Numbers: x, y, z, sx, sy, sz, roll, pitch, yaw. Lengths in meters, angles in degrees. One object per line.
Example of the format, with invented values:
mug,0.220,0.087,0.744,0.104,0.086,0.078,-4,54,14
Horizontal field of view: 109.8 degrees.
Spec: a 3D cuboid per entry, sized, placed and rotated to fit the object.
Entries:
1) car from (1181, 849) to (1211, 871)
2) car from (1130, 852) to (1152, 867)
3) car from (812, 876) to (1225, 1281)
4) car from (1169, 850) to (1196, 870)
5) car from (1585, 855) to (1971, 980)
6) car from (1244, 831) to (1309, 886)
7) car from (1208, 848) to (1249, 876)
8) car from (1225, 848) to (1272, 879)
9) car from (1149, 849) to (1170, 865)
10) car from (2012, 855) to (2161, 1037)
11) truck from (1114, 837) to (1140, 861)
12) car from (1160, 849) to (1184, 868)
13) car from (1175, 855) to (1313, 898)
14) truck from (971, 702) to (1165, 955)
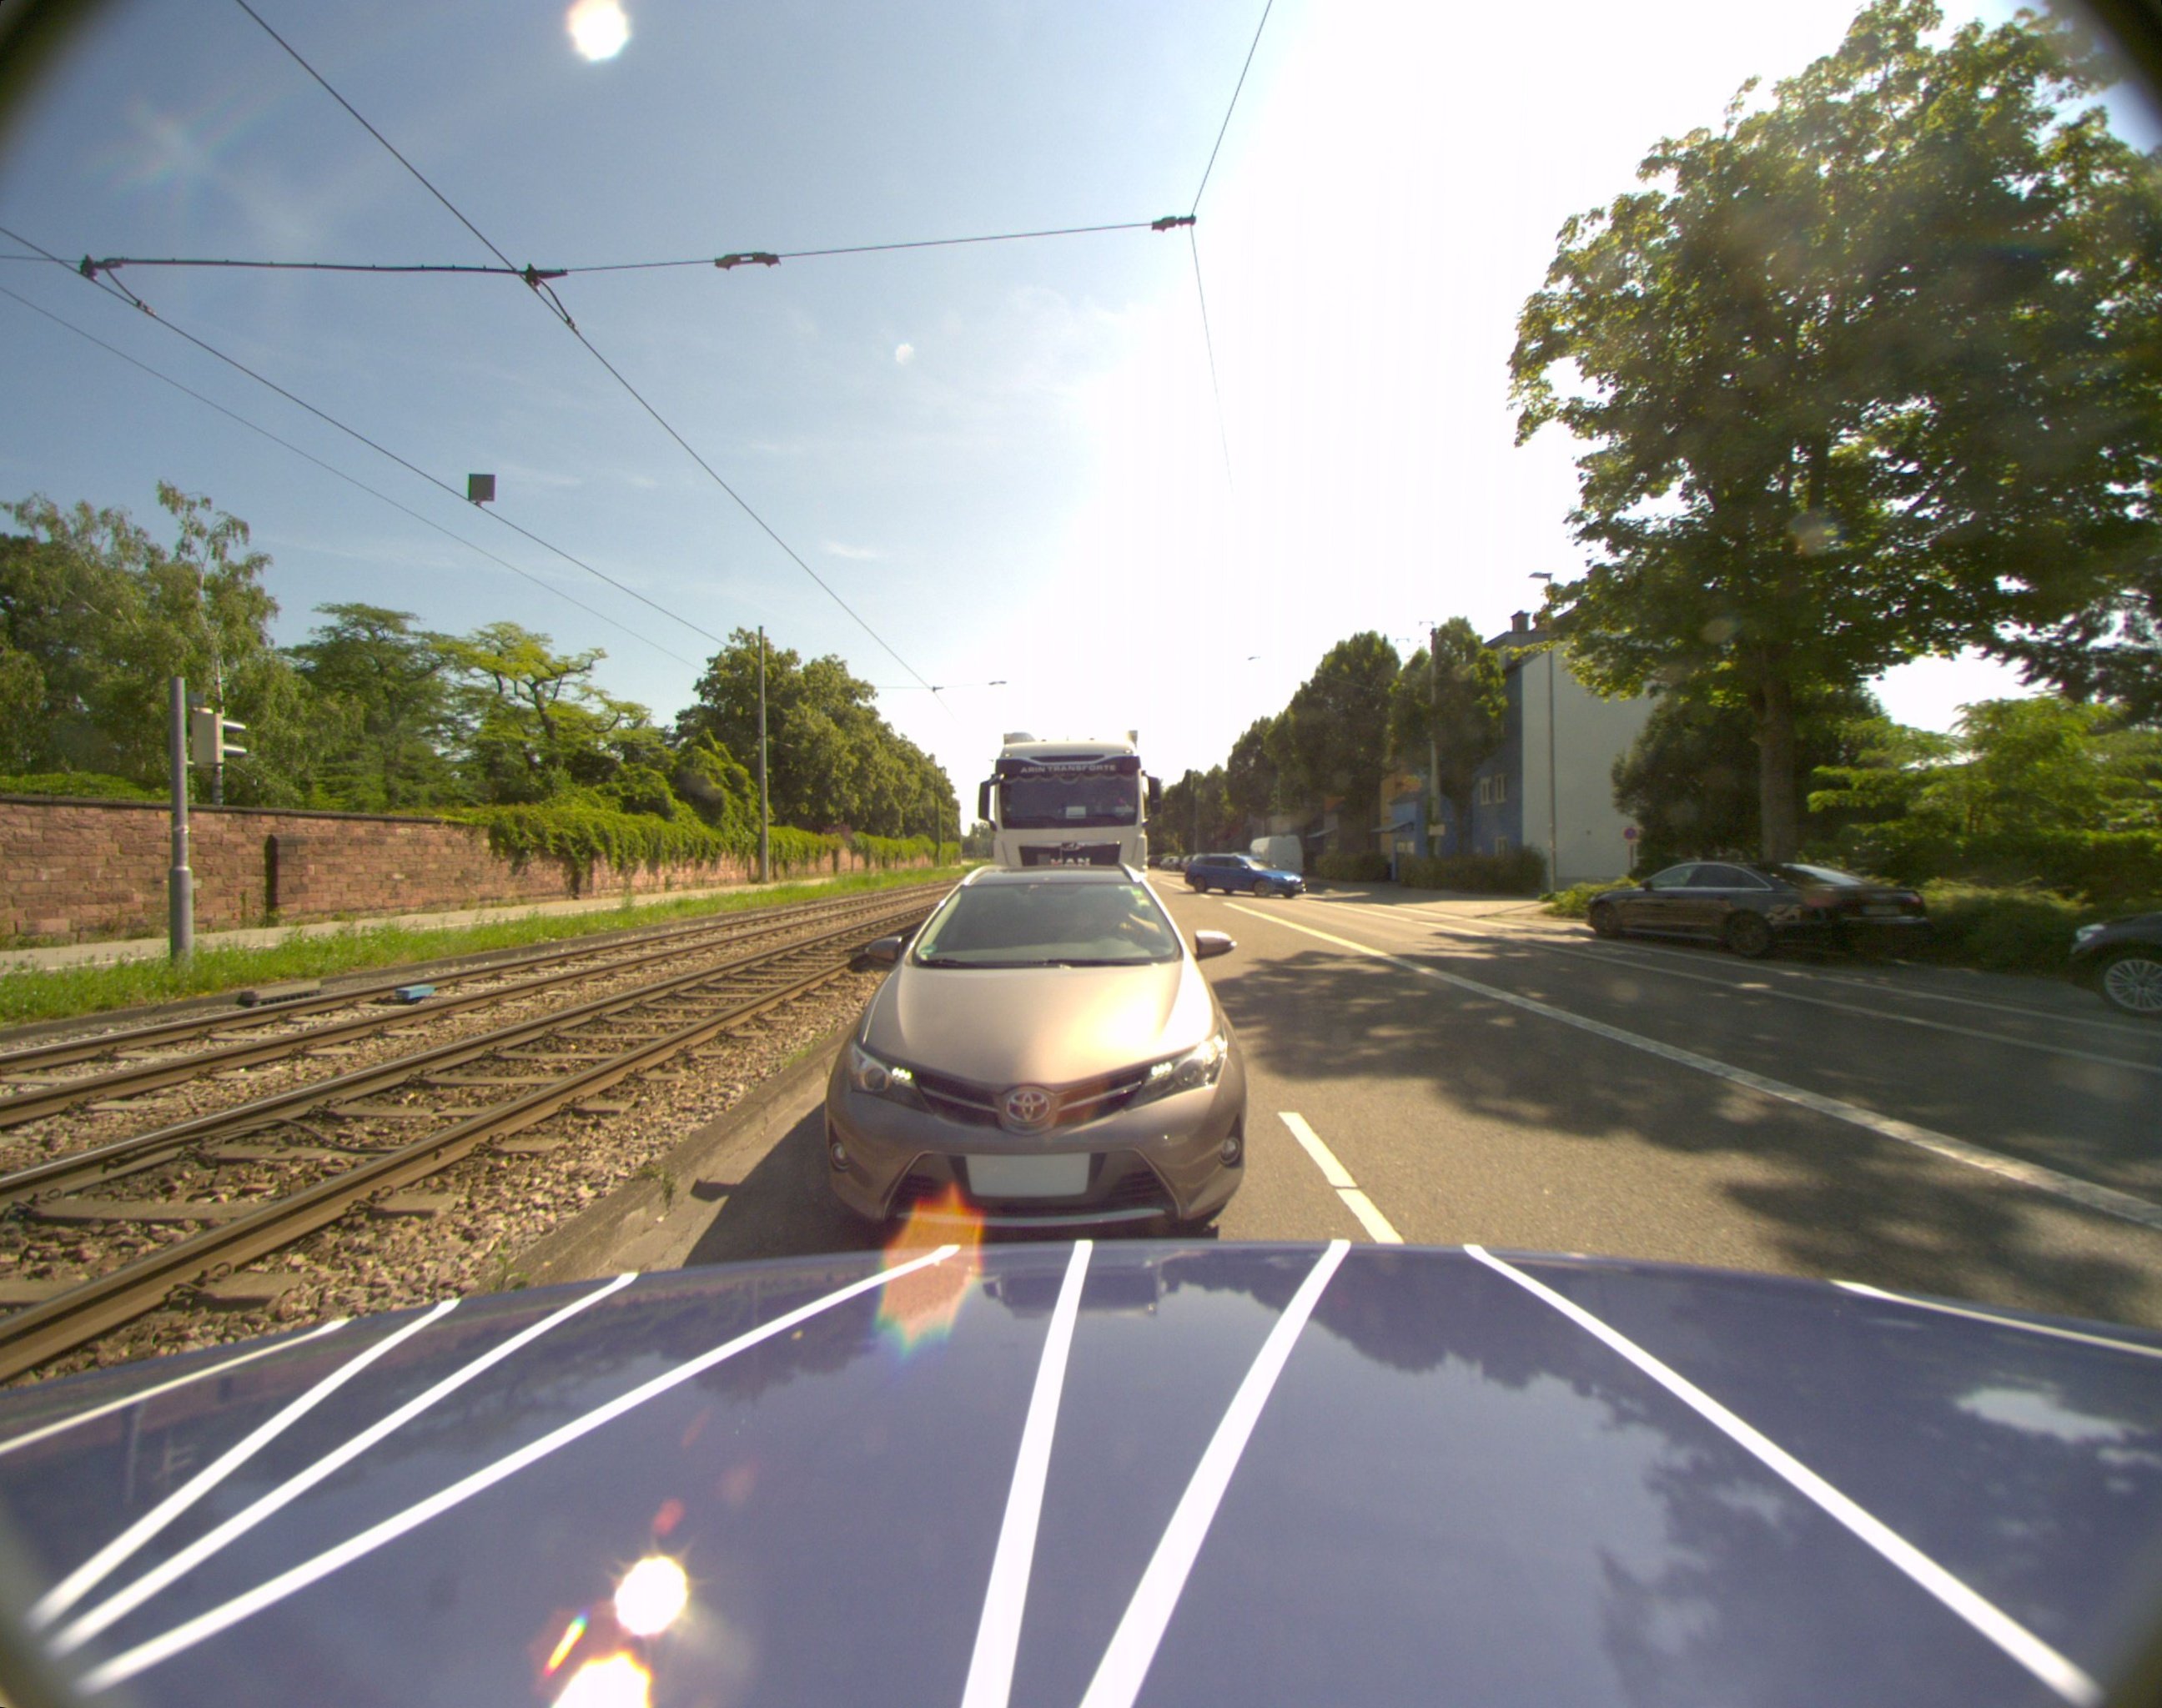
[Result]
car,11.029,0.561,73.367,1.998,1.795,4.769,-6,0,0
car,8.289,0.800,105.559,1.999,1.795,5.111,-6,0,-4
car,-0.212,0.914,4.901,1.573,1.422,4.000,0,0,1
car,10.579,0.637,79.157,1.998,1.795,4.769,-6,0,0
car,10.562,0.826,12.149,1.868,1.562,4.621,-1,0,-2
car,10.960,0.248,43.090,1.998,2.678,6.214,-6,0,2
car,11.086,0.580,57.369,1.998,1.795,4.769,-6,0,0
car,11.321,0.619,51.758,1.998,1.795,4.769,-6,0,0
car,9.947,0.342,96.920,1.998,1.795,4.769,-6,0,0
car,10.586,0.826,5.559,1.868,1.562,4.621,-2,0,0
truck,6.996,-0.671,116.097,2.704,3.263,6.724,-6,0,-5
car,10.173,0.484,85.521,1.998,1.795,4.769,-6,0,0
car,5.832,0.752,27.828,1.894,1.422,5.062,0,0,-34
truck,-0.102,-0.407,19.018,2.935,3.856,14.913,0,0,1
